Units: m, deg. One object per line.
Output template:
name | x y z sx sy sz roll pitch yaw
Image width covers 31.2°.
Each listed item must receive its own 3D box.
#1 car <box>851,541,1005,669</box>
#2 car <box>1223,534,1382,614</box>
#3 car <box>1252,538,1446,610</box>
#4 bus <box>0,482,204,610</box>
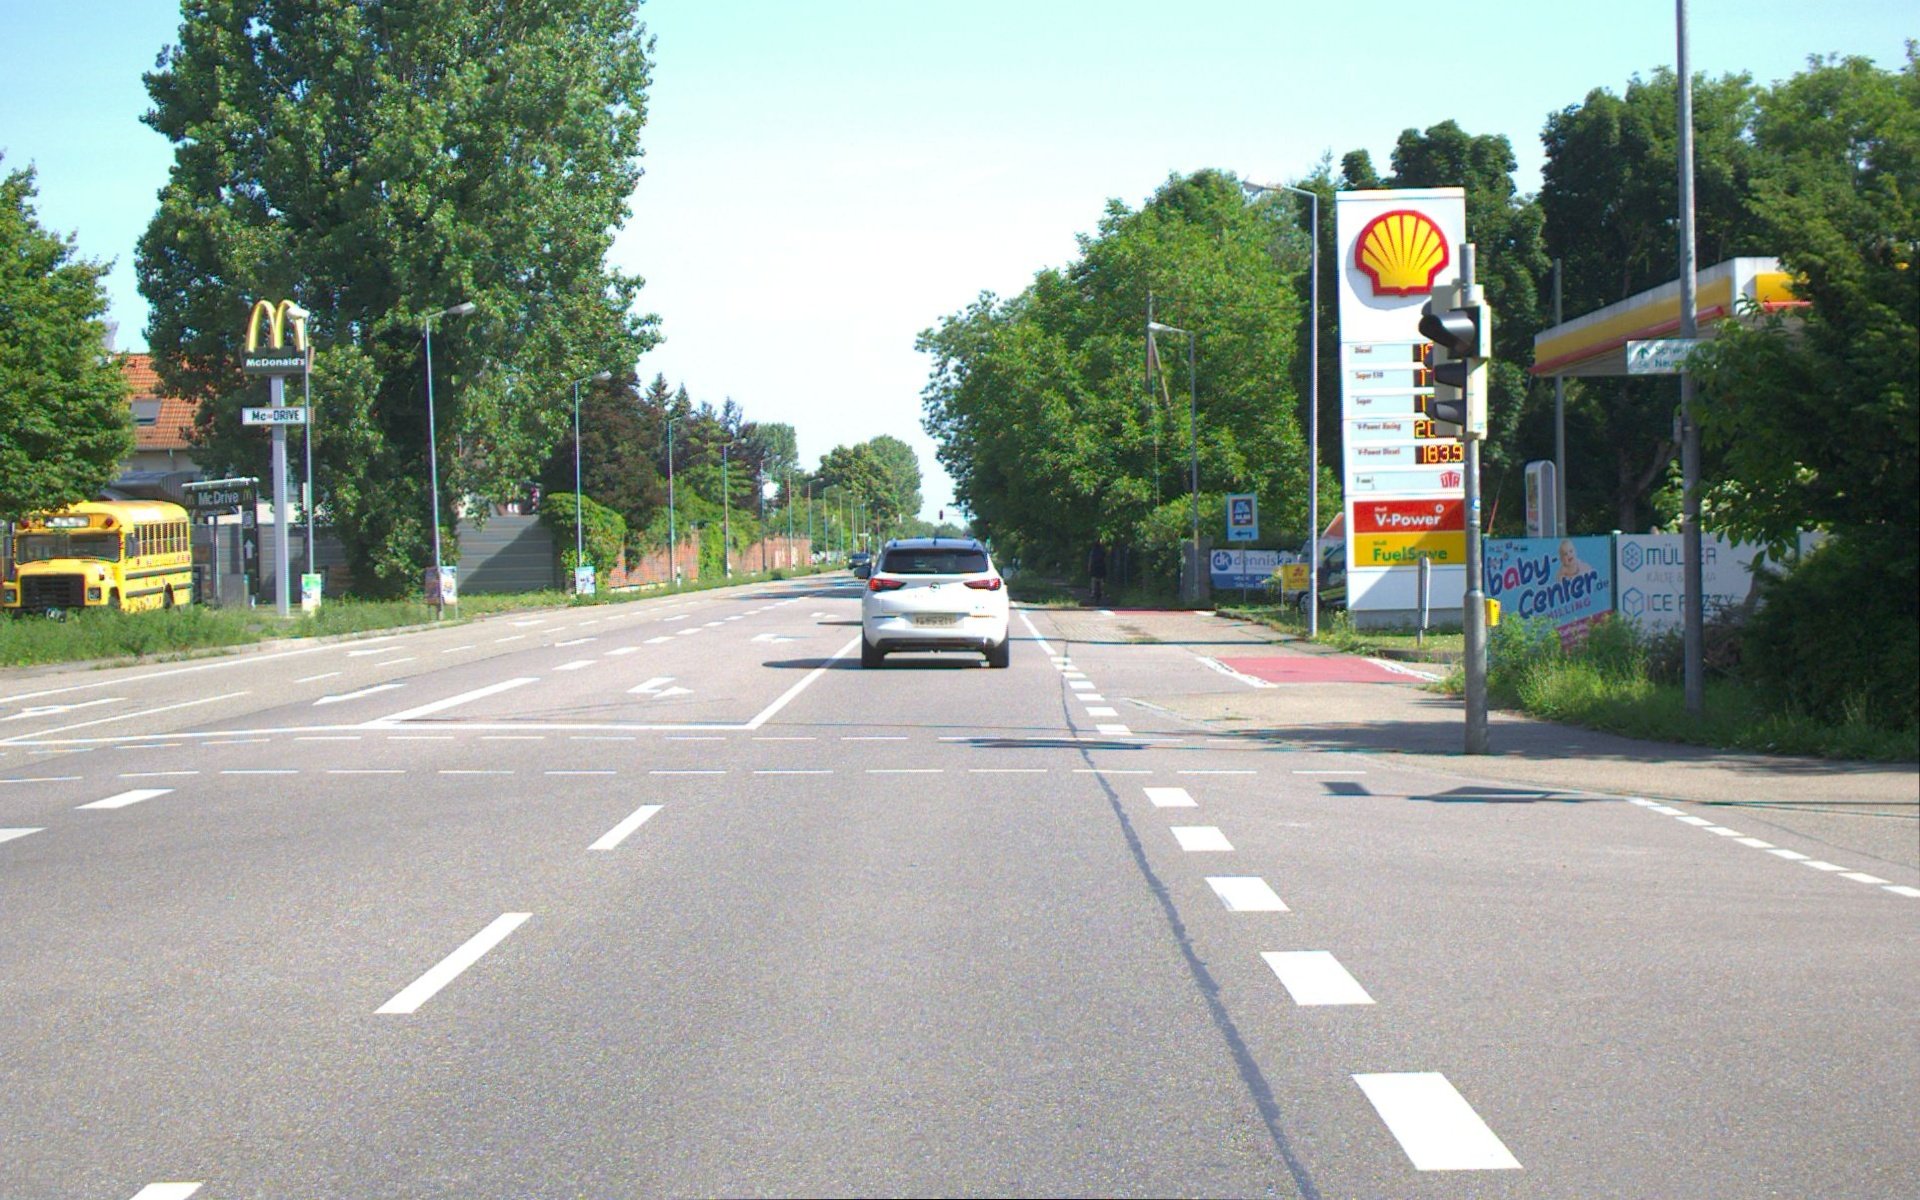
car | -0.366 0.045 43.762 1.847 1.536 4.224 1 0 1
car | 6.750 -0.496 67.834 2.729 1.525 1.574 0 -1 45
car | 8.567 -0.576 75.845 3.986 1.525 1.586 1 0 -6
bus | -19.043 -1.171 76.704 2.579 2.670 8.998 1 0 -2
